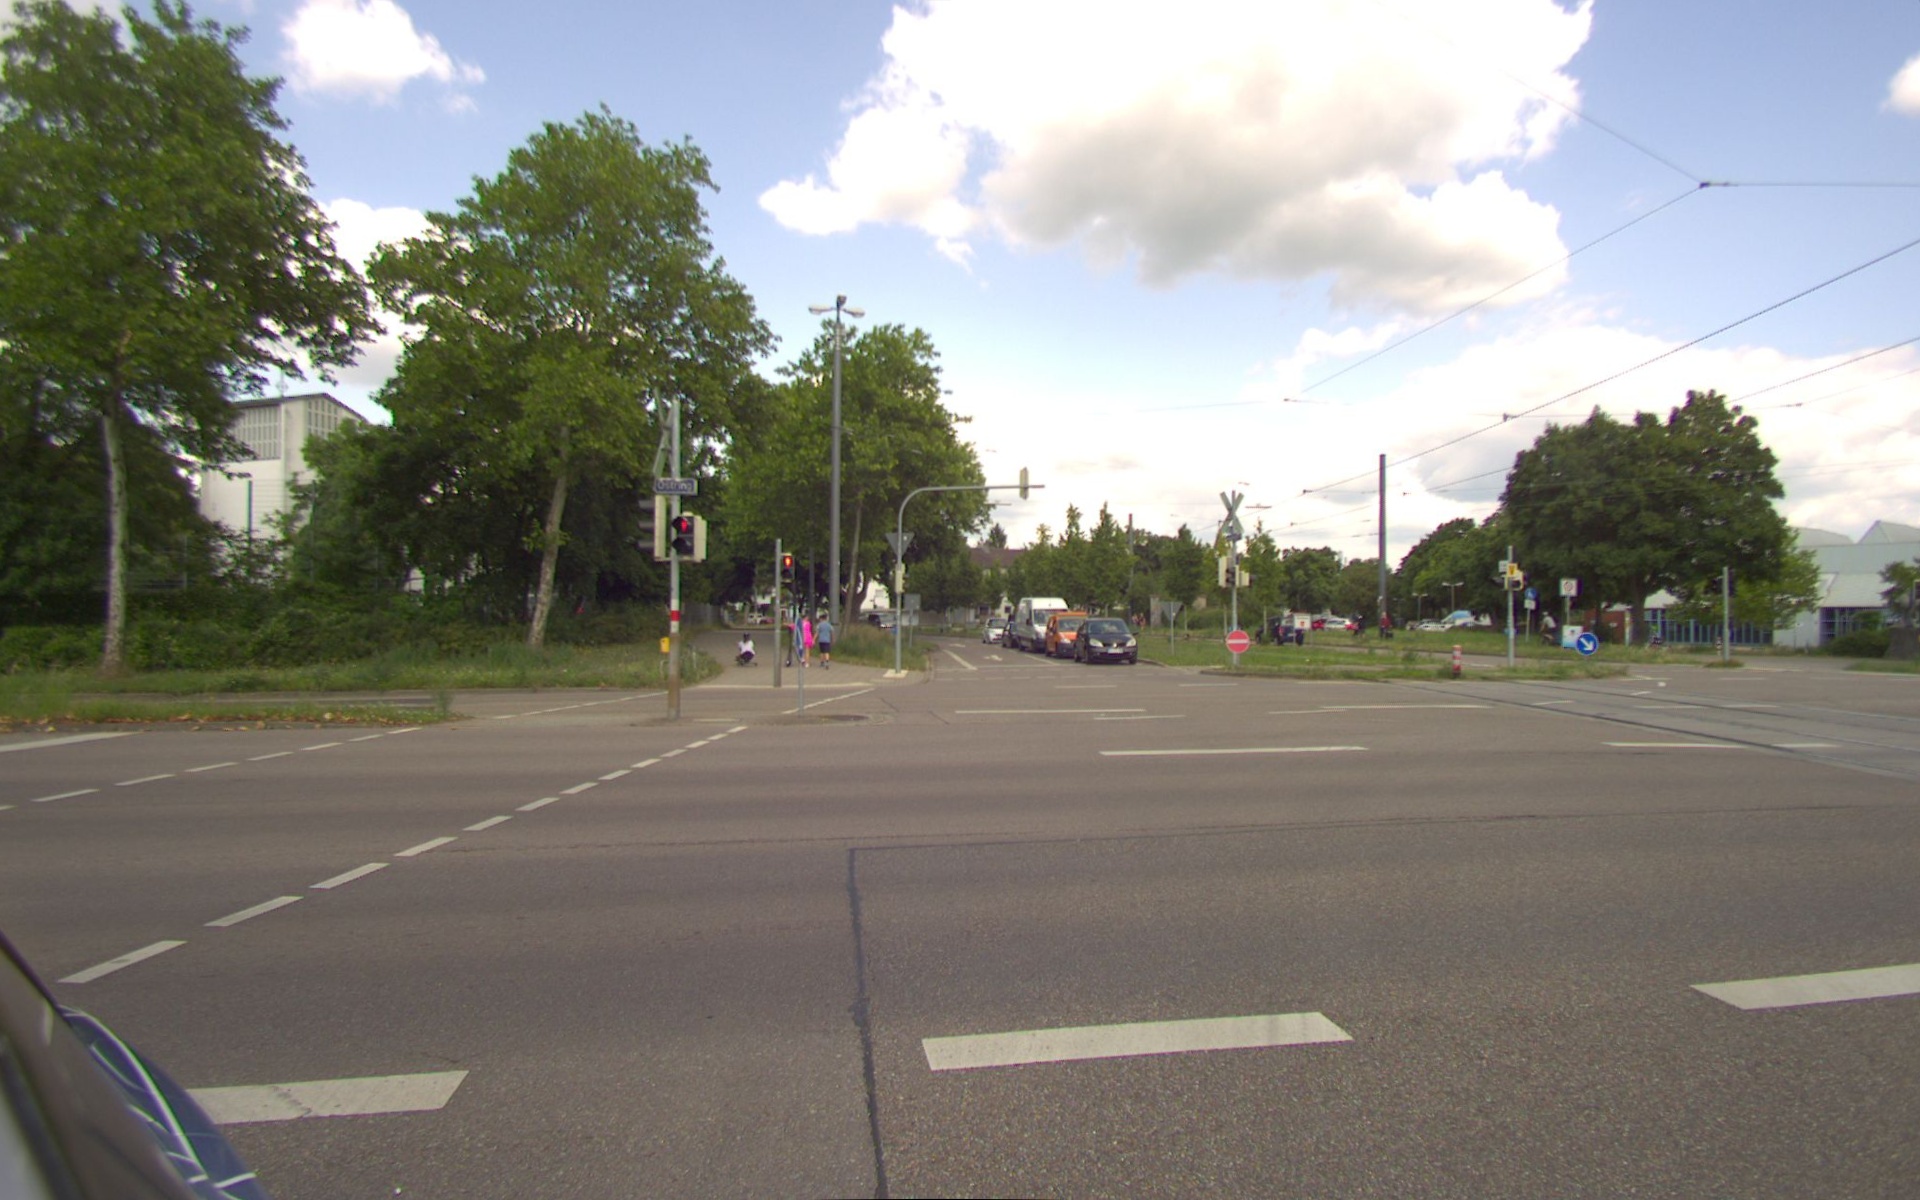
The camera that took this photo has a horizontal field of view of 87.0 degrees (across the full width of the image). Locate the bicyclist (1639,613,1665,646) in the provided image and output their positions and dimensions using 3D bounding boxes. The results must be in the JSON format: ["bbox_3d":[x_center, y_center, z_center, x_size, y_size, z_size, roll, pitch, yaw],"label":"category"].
[{"bbox_3d":[31.868,1.362,46.625,0.836,1.500,0.949,-1,-2,44],"label":"bicyclist"}]

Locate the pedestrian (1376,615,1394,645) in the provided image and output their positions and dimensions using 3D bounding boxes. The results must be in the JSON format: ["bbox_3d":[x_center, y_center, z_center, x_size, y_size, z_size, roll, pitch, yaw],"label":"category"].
[{"bbox_3d":[23.839,1.677,56.769,0.602,1.657,0.640,-2,-1,-21],"label":"pedestrian"}]

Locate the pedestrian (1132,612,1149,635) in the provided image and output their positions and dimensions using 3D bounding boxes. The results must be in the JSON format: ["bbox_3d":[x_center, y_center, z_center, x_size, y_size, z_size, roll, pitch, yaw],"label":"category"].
[{"bbox_3d":[16.212,2.126,90.960,1.087,2.029,1.180,0,-1,-17],"label":"pedestrian"}]

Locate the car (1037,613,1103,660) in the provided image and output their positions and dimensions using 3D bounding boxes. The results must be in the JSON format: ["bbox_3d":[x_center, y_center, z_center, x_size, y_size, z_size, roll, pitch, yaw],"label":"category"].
[{"bbox_3d":[4.429,1.450,41.453,1.855,1.813,4.375,0,-1,-5],"label":"car"}]

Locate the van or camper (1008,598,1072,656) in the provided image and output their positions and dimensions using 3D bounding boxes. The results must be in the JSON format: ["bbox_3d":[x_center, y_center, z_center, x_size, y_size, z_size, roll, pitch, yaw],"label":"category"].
[{"bbox_3d":[3.702,1.287,48.064,1.951,2.544,6.045,0,-2,-6],"label":"van or camper"}]

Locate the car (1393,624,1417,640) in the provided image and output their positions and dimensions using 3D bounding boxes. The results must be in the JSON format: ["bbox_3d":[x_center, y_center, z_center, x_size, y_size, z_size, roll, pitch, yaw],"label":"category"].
[{"bbox_3d":[48.996,3.501,111.436,1.984,1.652,4.363,-1,-1,19],"label":"car"}]

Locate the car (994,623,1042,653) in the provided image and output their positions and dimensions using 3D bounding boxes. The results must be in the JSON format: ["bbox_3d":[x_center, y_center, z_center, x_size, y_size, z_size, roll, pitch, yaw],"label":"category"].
[{"bbox_3d":[3.068,2.012,54.278,1.783,1.442,4.476,0,0,-7],"label":"car"}]

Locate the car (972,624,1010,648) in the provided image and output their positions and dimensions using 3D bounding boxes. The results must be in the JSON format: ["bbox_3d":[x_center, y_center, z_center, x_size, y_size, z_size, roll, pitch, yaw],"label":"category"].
[{"bbox_3d":[1.882,2.185,62.516,1.784,1.442,4.388,0,-1,-6],"label":"car"}]

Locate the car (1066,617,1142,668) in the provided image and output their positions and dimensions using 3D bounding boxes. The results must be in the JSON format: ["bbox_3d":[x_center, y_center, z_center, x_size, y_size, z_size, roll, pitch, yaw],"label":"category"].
[{"bbox_3d":[4.933,1.432,35.117,1.709,1.643,4.057,0,-1,-5],"label":"car"}]

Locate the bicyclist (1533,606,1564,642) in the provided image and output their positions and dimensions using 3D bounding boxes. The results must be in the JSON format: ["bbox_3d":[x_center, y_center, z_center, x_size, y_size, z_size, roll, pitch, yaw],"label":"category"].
[{"bbox_3d":[28.248,1.144,48.593,0.948,1.735,0.837,0,-1,-6],"label":"bicyclist"}]

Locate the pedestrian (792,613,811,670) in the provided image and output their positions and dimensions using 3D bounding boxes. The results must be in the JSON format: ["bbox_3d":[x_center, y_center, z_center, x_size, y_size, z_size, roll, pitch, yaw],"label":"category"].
[{"bbox_3d":[-4.586,1.203,29.247,0.416,1.631,0.596,-1,-1,2],"label":"pedestrian"}]

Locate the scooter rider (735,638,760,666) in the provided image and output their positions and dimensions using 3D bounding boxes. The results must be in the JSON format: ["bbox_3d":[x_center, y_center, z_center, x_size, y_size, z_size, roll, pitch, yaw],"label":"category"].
[{"bbox_3d":[-5.912,1.436,28.184,0.602,0.734,0.861,-2,-1,-9],"label":"scooter rider"}]

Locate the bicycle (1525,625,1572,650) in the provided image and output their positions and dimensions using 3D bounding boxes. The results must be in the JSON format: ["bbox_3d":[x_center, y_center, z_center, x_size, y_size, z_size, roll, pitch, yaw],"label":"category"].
[{"bbox_3d":[28.252,1.788,48.633,0.937,1.163,1.986,0,-1,-6],"label":"bicycle"}]

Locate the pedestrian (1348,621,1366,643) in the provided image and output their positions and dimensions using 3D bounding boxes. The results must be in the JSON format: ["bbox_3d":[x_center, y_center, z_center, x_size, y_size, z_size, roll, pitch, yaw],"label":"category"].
[{"bbox_3d":[24.171,1.943,61.628,0.641,1.364,0.753,-2,-1,-6],"label":"pedestrian"}]

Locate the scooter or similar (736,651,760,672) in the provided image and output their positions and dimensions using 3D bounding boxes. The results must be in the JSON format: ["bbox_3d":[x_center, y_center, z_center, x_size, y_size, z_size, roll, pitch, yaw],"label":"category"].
[{"bbox_3d":[-5.906,1.706,28.180,0.602,0.515,0.859,-2,-1,-9],"label":"scooter or similar"}]

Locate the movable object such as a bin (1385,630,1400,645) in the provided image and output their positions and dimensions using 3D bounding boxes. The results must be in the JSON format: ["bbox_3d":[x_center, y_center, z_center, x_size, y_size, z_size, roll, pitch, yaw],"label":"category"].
[{"bbox_3d":[24.032,2.082,56.278,0.569,0.817,0.461,-2,-1,-21],"label":"movable object such as a bin"}]

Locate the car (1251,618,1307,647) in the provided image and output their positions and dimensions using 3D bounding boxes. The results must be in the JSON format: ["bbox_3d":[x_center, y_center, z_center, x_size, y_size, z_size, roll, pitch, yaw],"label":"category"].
[{"bbox_3d":[18.274,1.854,58.138,1.701,1.629,4.003,0,-1,-3],"label":"car"}]

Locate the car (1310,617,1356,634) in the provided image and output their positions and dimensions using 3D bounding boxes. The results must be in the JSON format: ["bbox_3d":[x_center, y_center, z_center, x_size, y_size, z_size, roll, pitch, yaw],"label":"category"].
[{"bbox_3d":[34.949,2.381,94.906,3.969,1.541,1.987,-1,-1,20],"label":"car"}]

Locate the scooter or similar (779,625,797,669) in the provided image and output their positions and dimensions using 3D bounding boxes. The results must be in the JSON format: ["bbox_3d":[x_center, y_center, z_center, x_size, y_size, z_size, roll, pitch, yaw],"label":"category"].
[{"bbox_3d":[-4.989,1.361,29.403,0.318,1.241,0.775,-2,-1,4],"label":"scooter or similar"}]

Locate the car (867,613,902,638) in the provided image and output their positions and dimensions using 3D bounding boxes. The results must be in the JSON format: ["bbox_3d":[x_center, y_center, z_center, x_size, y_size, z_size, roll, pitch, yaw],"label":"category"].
[{"bbox_3d":[-6.906,2.325,91.671,1.823,2.172,4.397,1,-1,-23],"label":"car"}]

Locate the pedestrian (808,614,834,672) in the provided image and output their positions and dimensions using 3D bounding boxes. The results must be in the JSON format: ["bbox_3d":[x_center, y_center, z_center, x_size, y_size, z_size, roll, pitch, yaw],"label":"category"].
[{"bbox_3d":[-3.996,1.221,29.084,0.624,1.631,0.610,-1,-1,2],"label":"pedestrian"}]

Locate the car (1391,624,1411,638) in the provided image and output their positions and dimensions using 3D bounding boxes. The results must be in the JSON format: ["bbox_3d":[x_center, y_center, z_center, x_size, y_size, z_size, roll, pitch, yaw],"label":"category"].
[{"bbox_3d":[56.829,3.977,130.532,1.984,1.652,4.363,-1,-1,19],"label":"car"}]

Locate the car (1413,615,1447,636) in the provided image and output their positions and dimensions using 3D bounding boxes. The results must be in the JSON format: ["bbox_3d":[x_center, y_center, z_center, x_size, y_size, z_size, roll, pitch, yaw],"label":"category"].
[{"bbox_3d":[38.008,2.018,81.883,1.984,1.652,4.363,-1,-1,19],"label":"car"}]

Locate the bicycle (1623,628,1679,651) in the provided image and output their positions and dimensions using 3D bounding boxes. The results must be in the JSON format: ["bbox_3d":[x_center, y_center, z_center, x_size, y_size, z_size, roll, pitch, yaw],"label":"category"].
[{"bbox_3d":[31.834,1.801,46.643,1.984,1.048,0.938,-1,-2,44],"label":"bicycle"}]
